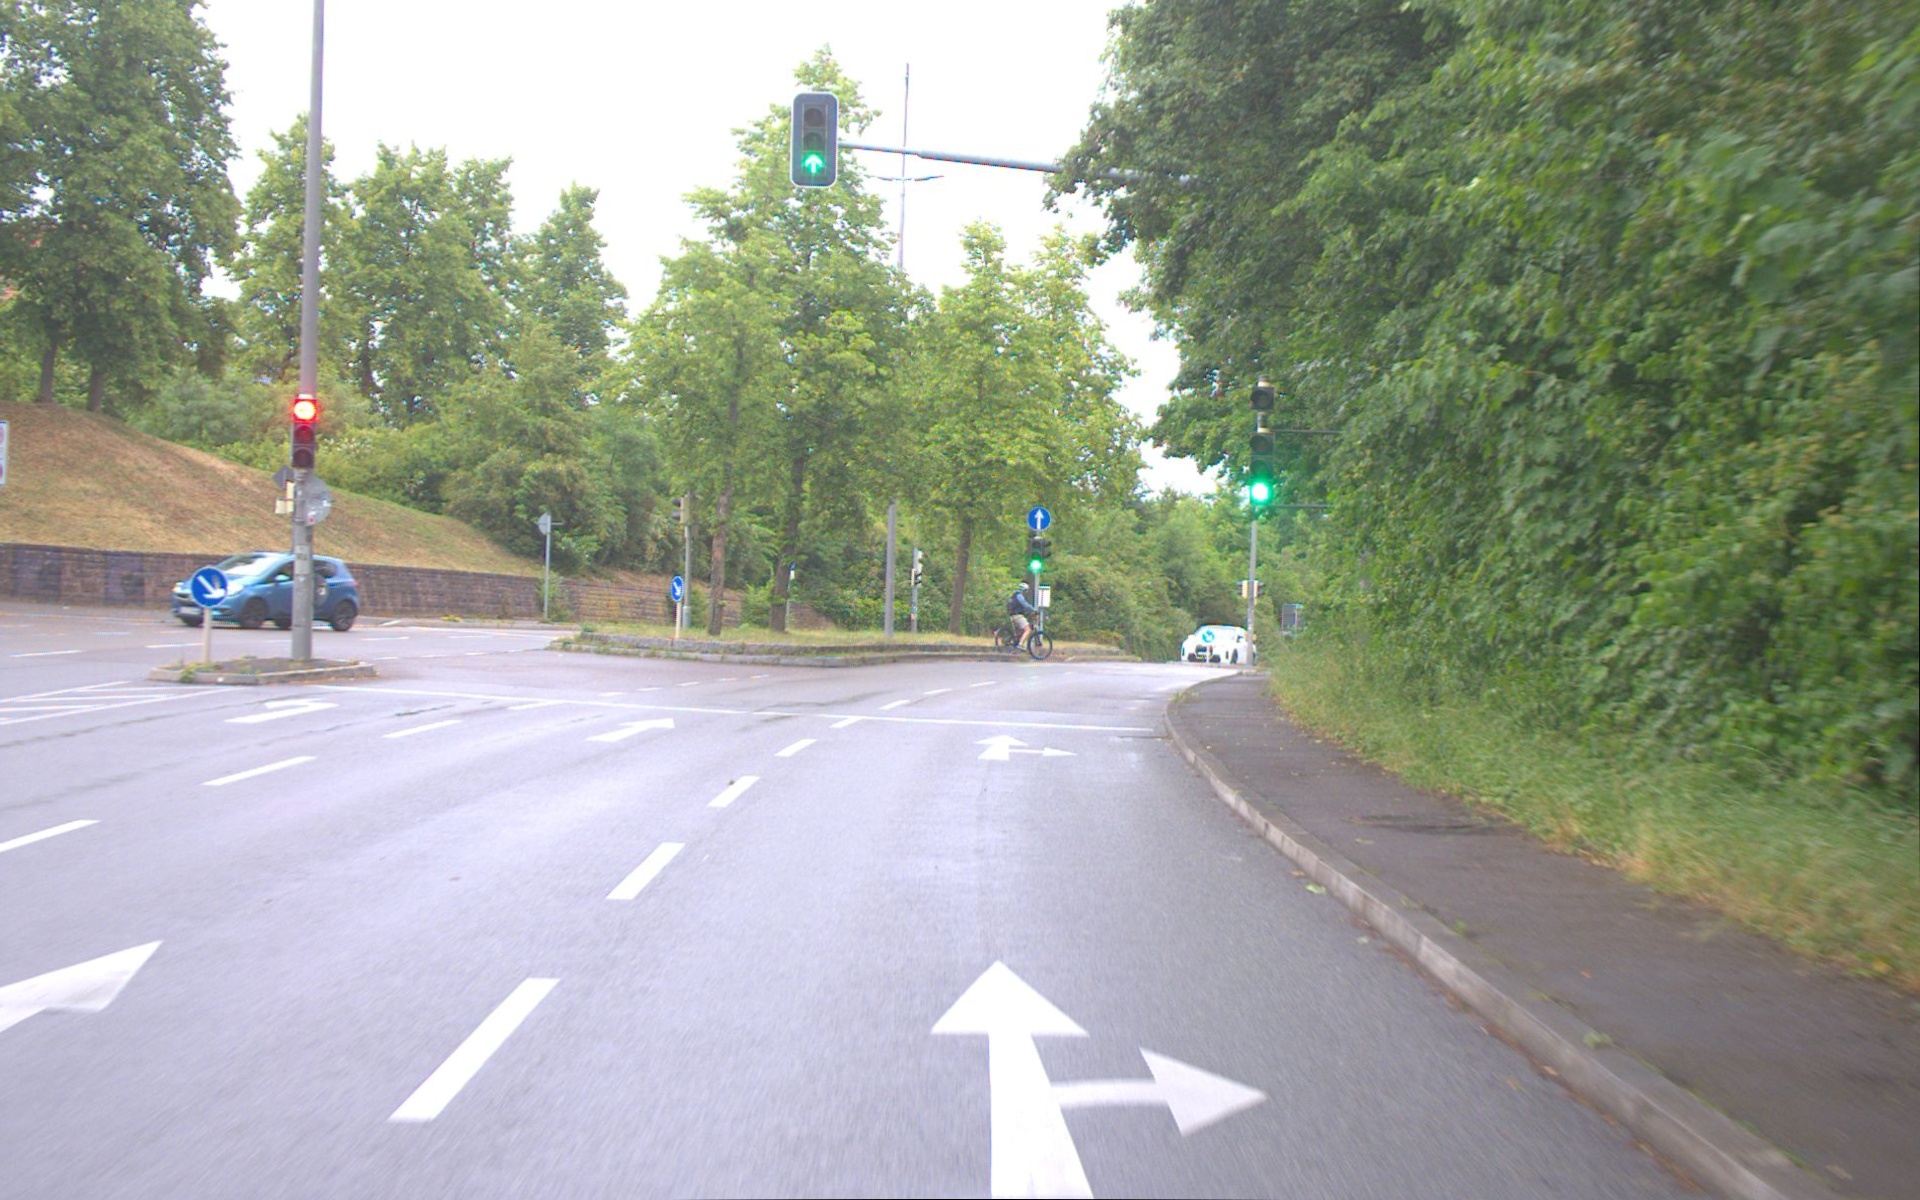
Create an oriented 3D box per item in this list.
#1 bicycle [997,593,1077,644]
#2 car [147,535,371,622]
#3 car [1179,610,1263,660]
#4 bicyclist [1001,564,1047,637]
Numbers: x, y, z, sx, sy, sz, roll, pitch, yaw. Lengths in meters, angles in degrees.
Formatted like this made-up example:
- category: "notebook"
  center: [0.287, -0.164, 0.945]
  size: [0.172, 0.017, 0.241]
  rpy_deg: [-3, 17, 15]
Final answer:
- category: "bicycle"
  center: [1.903, 0.464, 84.608]
  size: [2.134, 1.139, 0.554]
  rpy_deg: [4, -1, -42]
- category: "car"
  center: [-13.320, -0.397, 65.481]
  size: [1.997, 1.485, 3.930]
  rpy_deg: [3, 0, 31]
- category: "car"
  center: [9.884, 1.338, 129.818]
  size: [1.947, 1.630, 5.000]
  rpy_deg: [3, -1, 18]
- category: "bicyclist"
  center: [1.565, 0.013, 84.541]
  size: [0.799, 1.746, 0.725]
  rpy_deg: [5, -4, -42]
